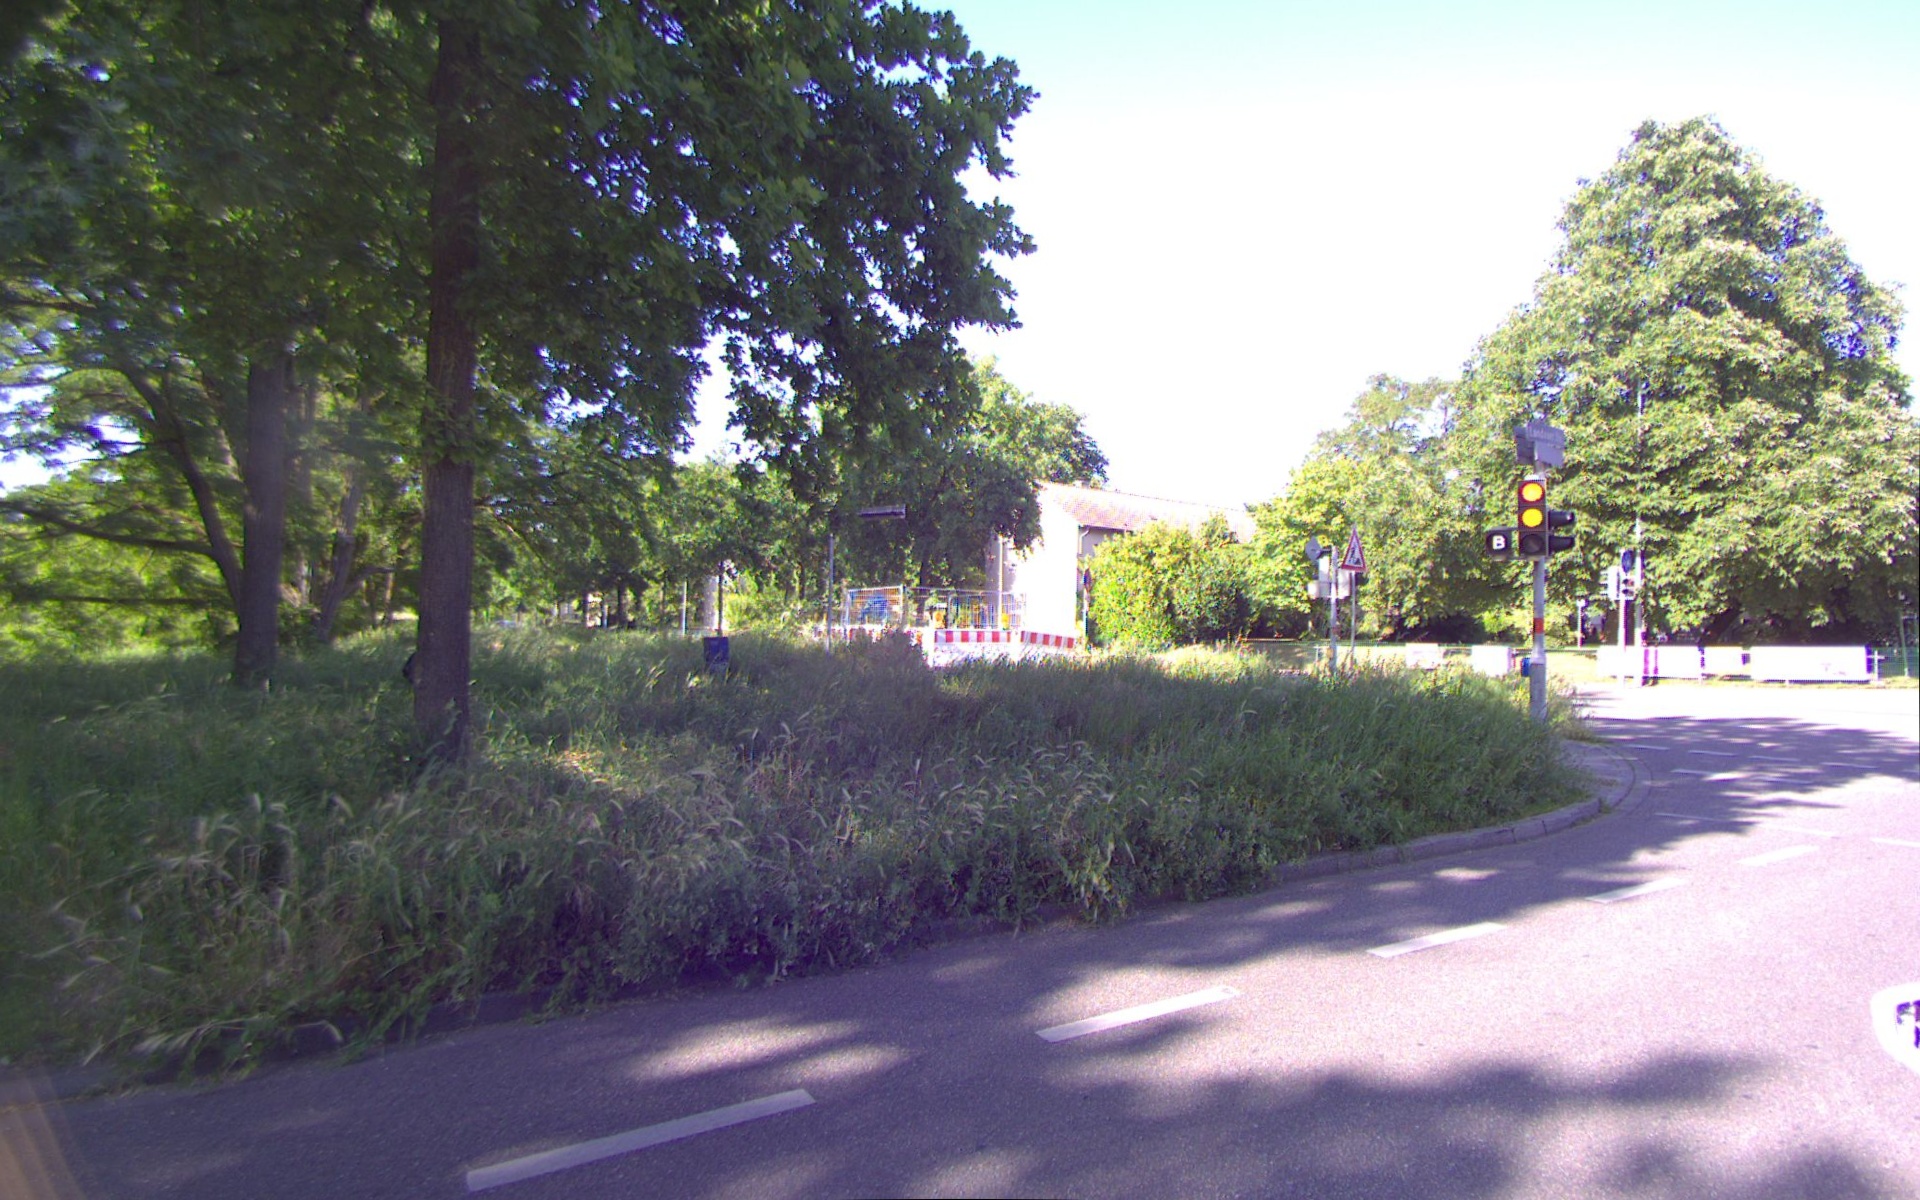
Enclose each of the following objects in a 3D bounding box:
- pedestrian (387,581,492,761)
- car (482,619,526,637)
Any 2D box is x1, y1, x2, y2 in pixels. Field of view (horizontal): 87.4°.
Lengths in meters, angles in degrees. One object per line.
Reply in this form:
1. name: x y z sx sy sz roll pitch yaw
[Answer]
1. pedestrian: -5.266 0.677 10.170 0.880 1.710 0.909 1 0 -29
2. car: -47.368 2.892 104.500 3.939 1.673 1.991 2 0 -20
